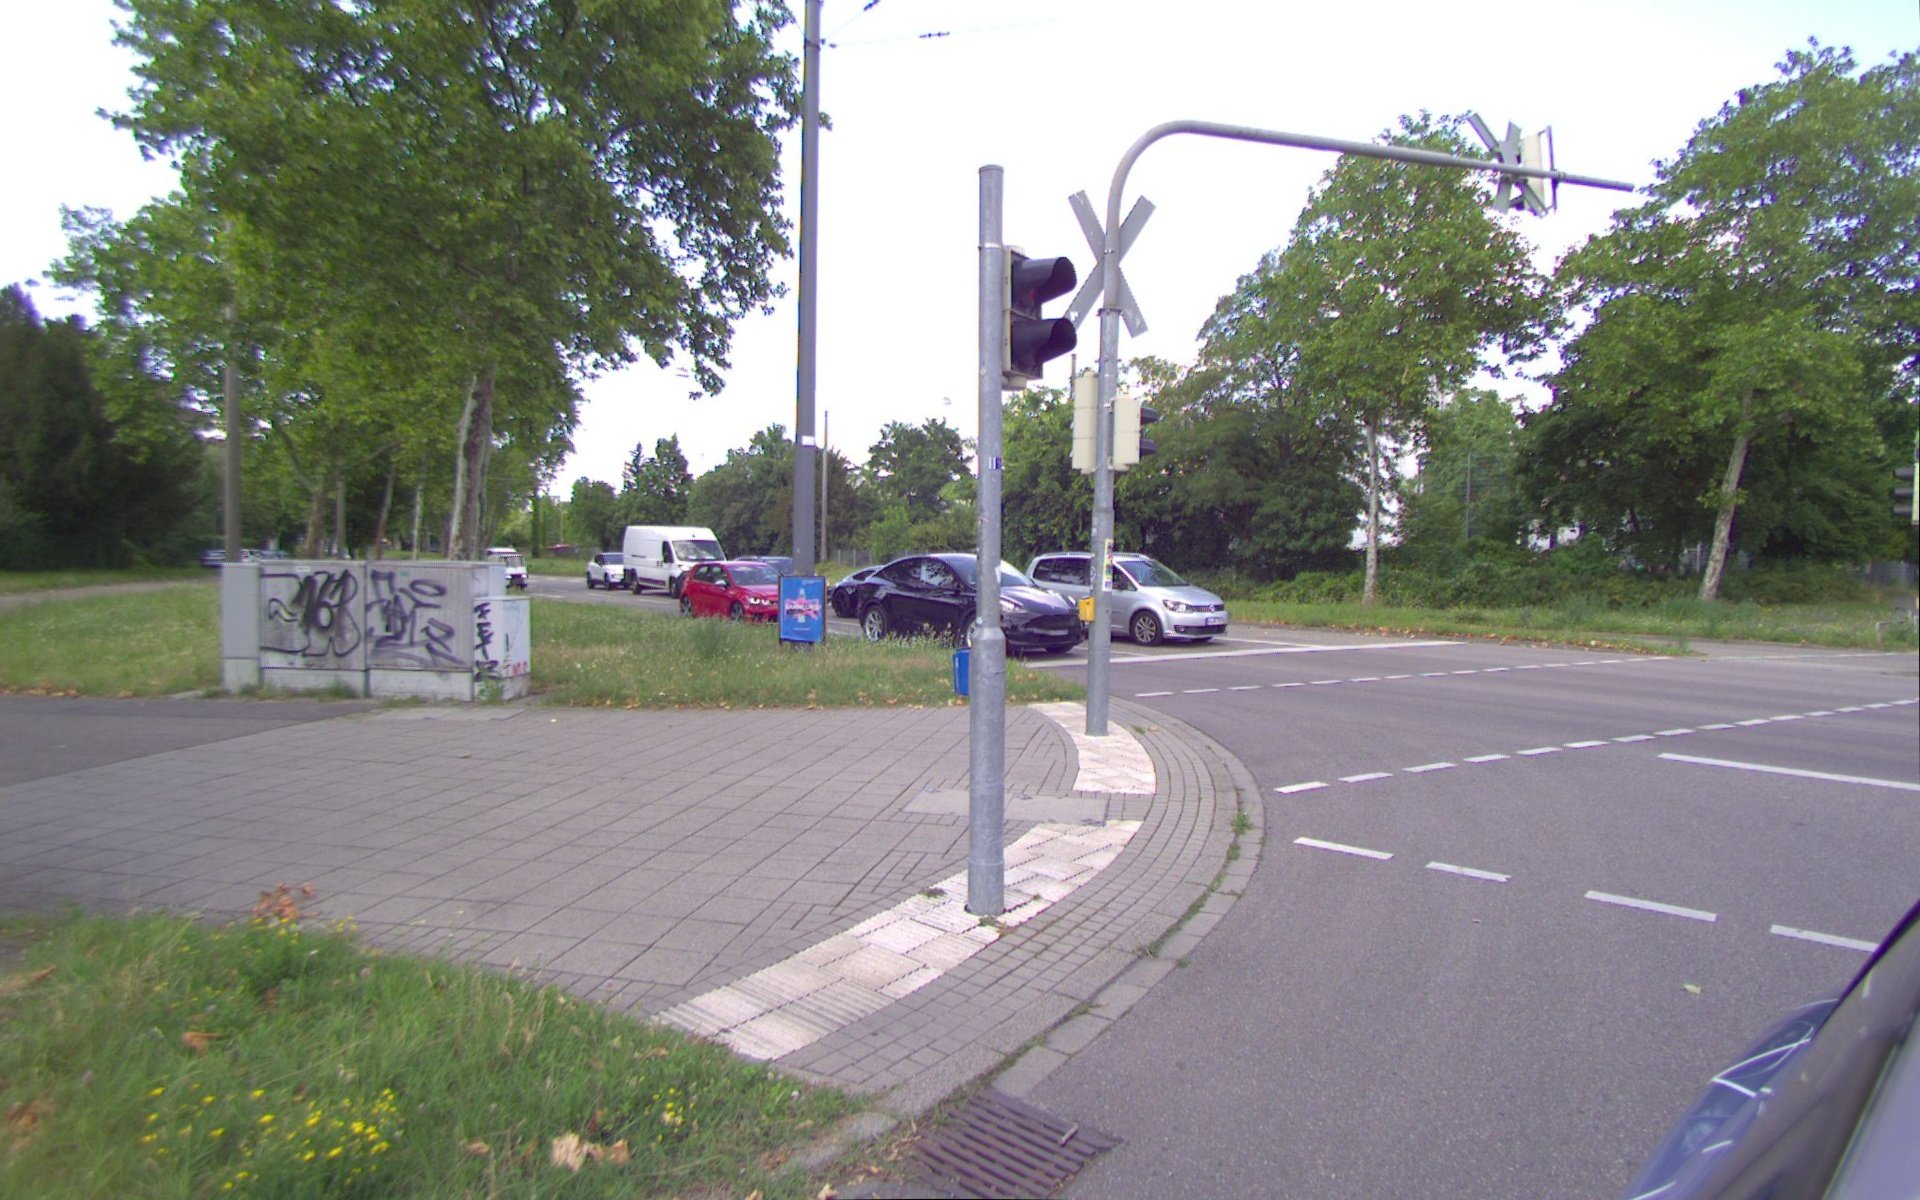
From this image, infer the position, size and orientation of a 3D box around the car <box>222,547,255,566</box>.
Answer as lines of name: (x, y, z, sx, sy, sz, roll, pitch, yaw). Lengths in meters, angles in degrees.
car: (-54.278, -3.287, 76.179, 1.645, 1.407, 3.312, 0, 3, -29)

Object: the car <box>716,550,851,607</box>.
car: (-5.290, -0.704, 29.857, 1.964, 1.531, 4.684, -2, 4, -38)

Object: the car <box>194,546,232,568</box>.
car: (-50.118, -2.891, 67.925, 1.645, 1.407, 3.312, 0, 3, -29)

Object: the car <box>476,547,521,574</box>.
car: (-30.334, -2.621, 66.458, 1.963, 1.726, 4.000, -1, 3, -36)

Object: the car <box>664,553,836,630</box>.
car: (-4.902, -0.289, 23.121, 1.964, 1.531, 4.684, -2, 4, -38)

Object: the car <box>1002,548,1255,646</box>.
car: (3.056, -0.172, 19.305, 1.964, 1.629, 4.684, -2, 4, -38)

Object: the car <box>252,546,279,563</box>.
car: (-61.845, -4.051, 90.140, 1.645, 1.407, 3.312, 0, 3, -29)

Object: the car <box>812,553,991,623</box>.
car: (-1.530, -0.380, 24.494, 1.964, 1.487, 4.747, -2, 4, -38)

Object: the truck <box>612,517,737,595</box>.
truck: (-10.585, -1.623, 37.121, 2.176, 2.628, 6.507, -1, 3, -37)

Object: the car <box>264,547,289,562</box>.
car: (-65.623, -4.354, 97.178, 1.645, 1.407, 3.312, 0, 3, -29)

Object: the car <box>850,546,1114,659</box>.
car: (0.203, -0.087, 17.040, 1.964, 1.629, 4.685, -2, 4, -38)

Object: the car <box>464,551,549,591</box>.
car: (-18.766, -1.243, 41.780, 1.965, 1.531, 4.682, -2, 4, -40)

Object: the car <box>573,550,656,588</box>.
car: (-15.042, -1.403, 43.921, 1.964, 1.531, 4.684, -2, 4, -38)
